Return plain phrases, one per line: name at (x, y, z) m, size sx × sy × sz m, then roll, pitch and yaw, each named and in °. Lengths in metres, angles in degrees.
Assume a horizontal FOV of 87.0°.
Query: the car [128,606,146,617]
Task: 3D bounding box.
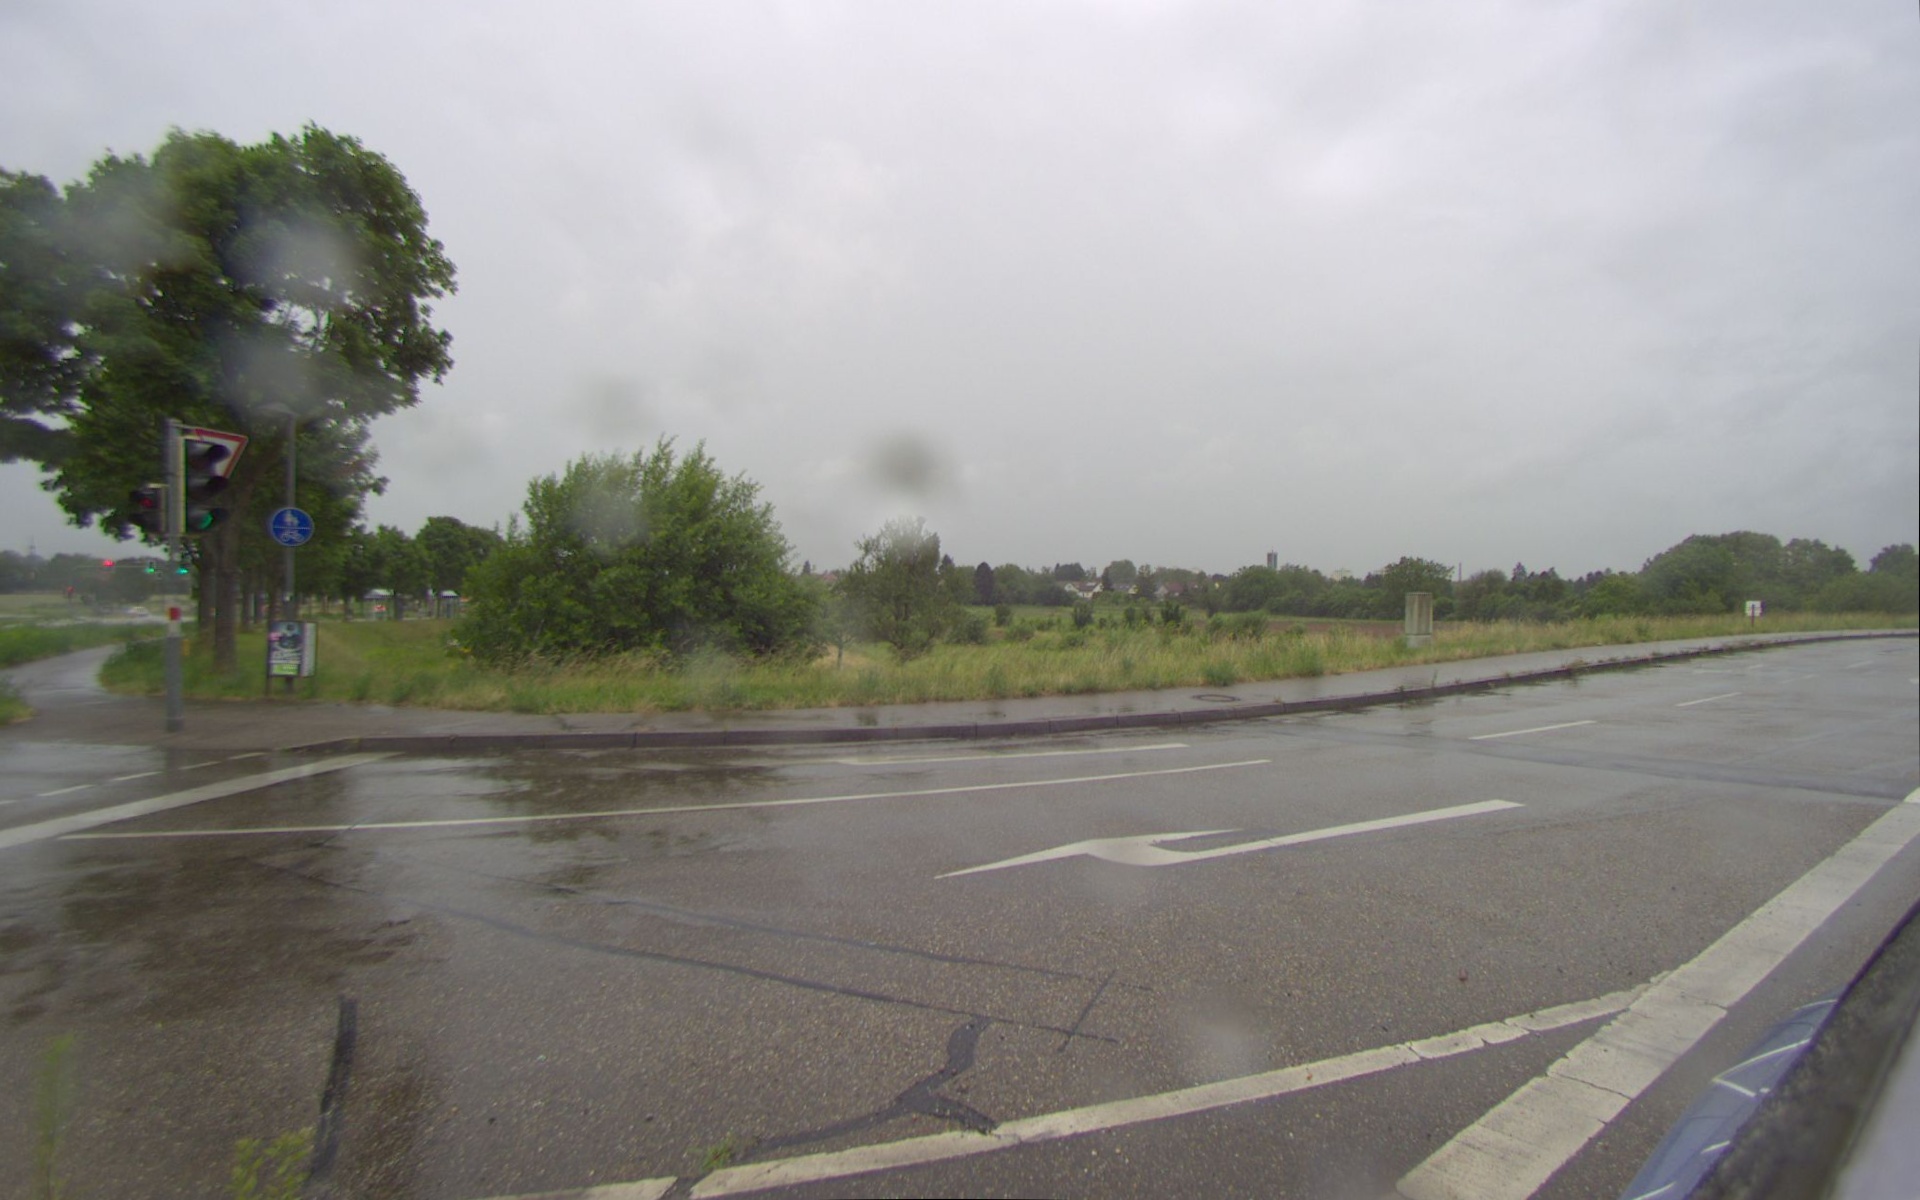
car at (-116.981, 1.609, 143.940) m, size 1.845 × 1.371 × 4.050 m, roll 0°, pitch 1°, yaw -37°
